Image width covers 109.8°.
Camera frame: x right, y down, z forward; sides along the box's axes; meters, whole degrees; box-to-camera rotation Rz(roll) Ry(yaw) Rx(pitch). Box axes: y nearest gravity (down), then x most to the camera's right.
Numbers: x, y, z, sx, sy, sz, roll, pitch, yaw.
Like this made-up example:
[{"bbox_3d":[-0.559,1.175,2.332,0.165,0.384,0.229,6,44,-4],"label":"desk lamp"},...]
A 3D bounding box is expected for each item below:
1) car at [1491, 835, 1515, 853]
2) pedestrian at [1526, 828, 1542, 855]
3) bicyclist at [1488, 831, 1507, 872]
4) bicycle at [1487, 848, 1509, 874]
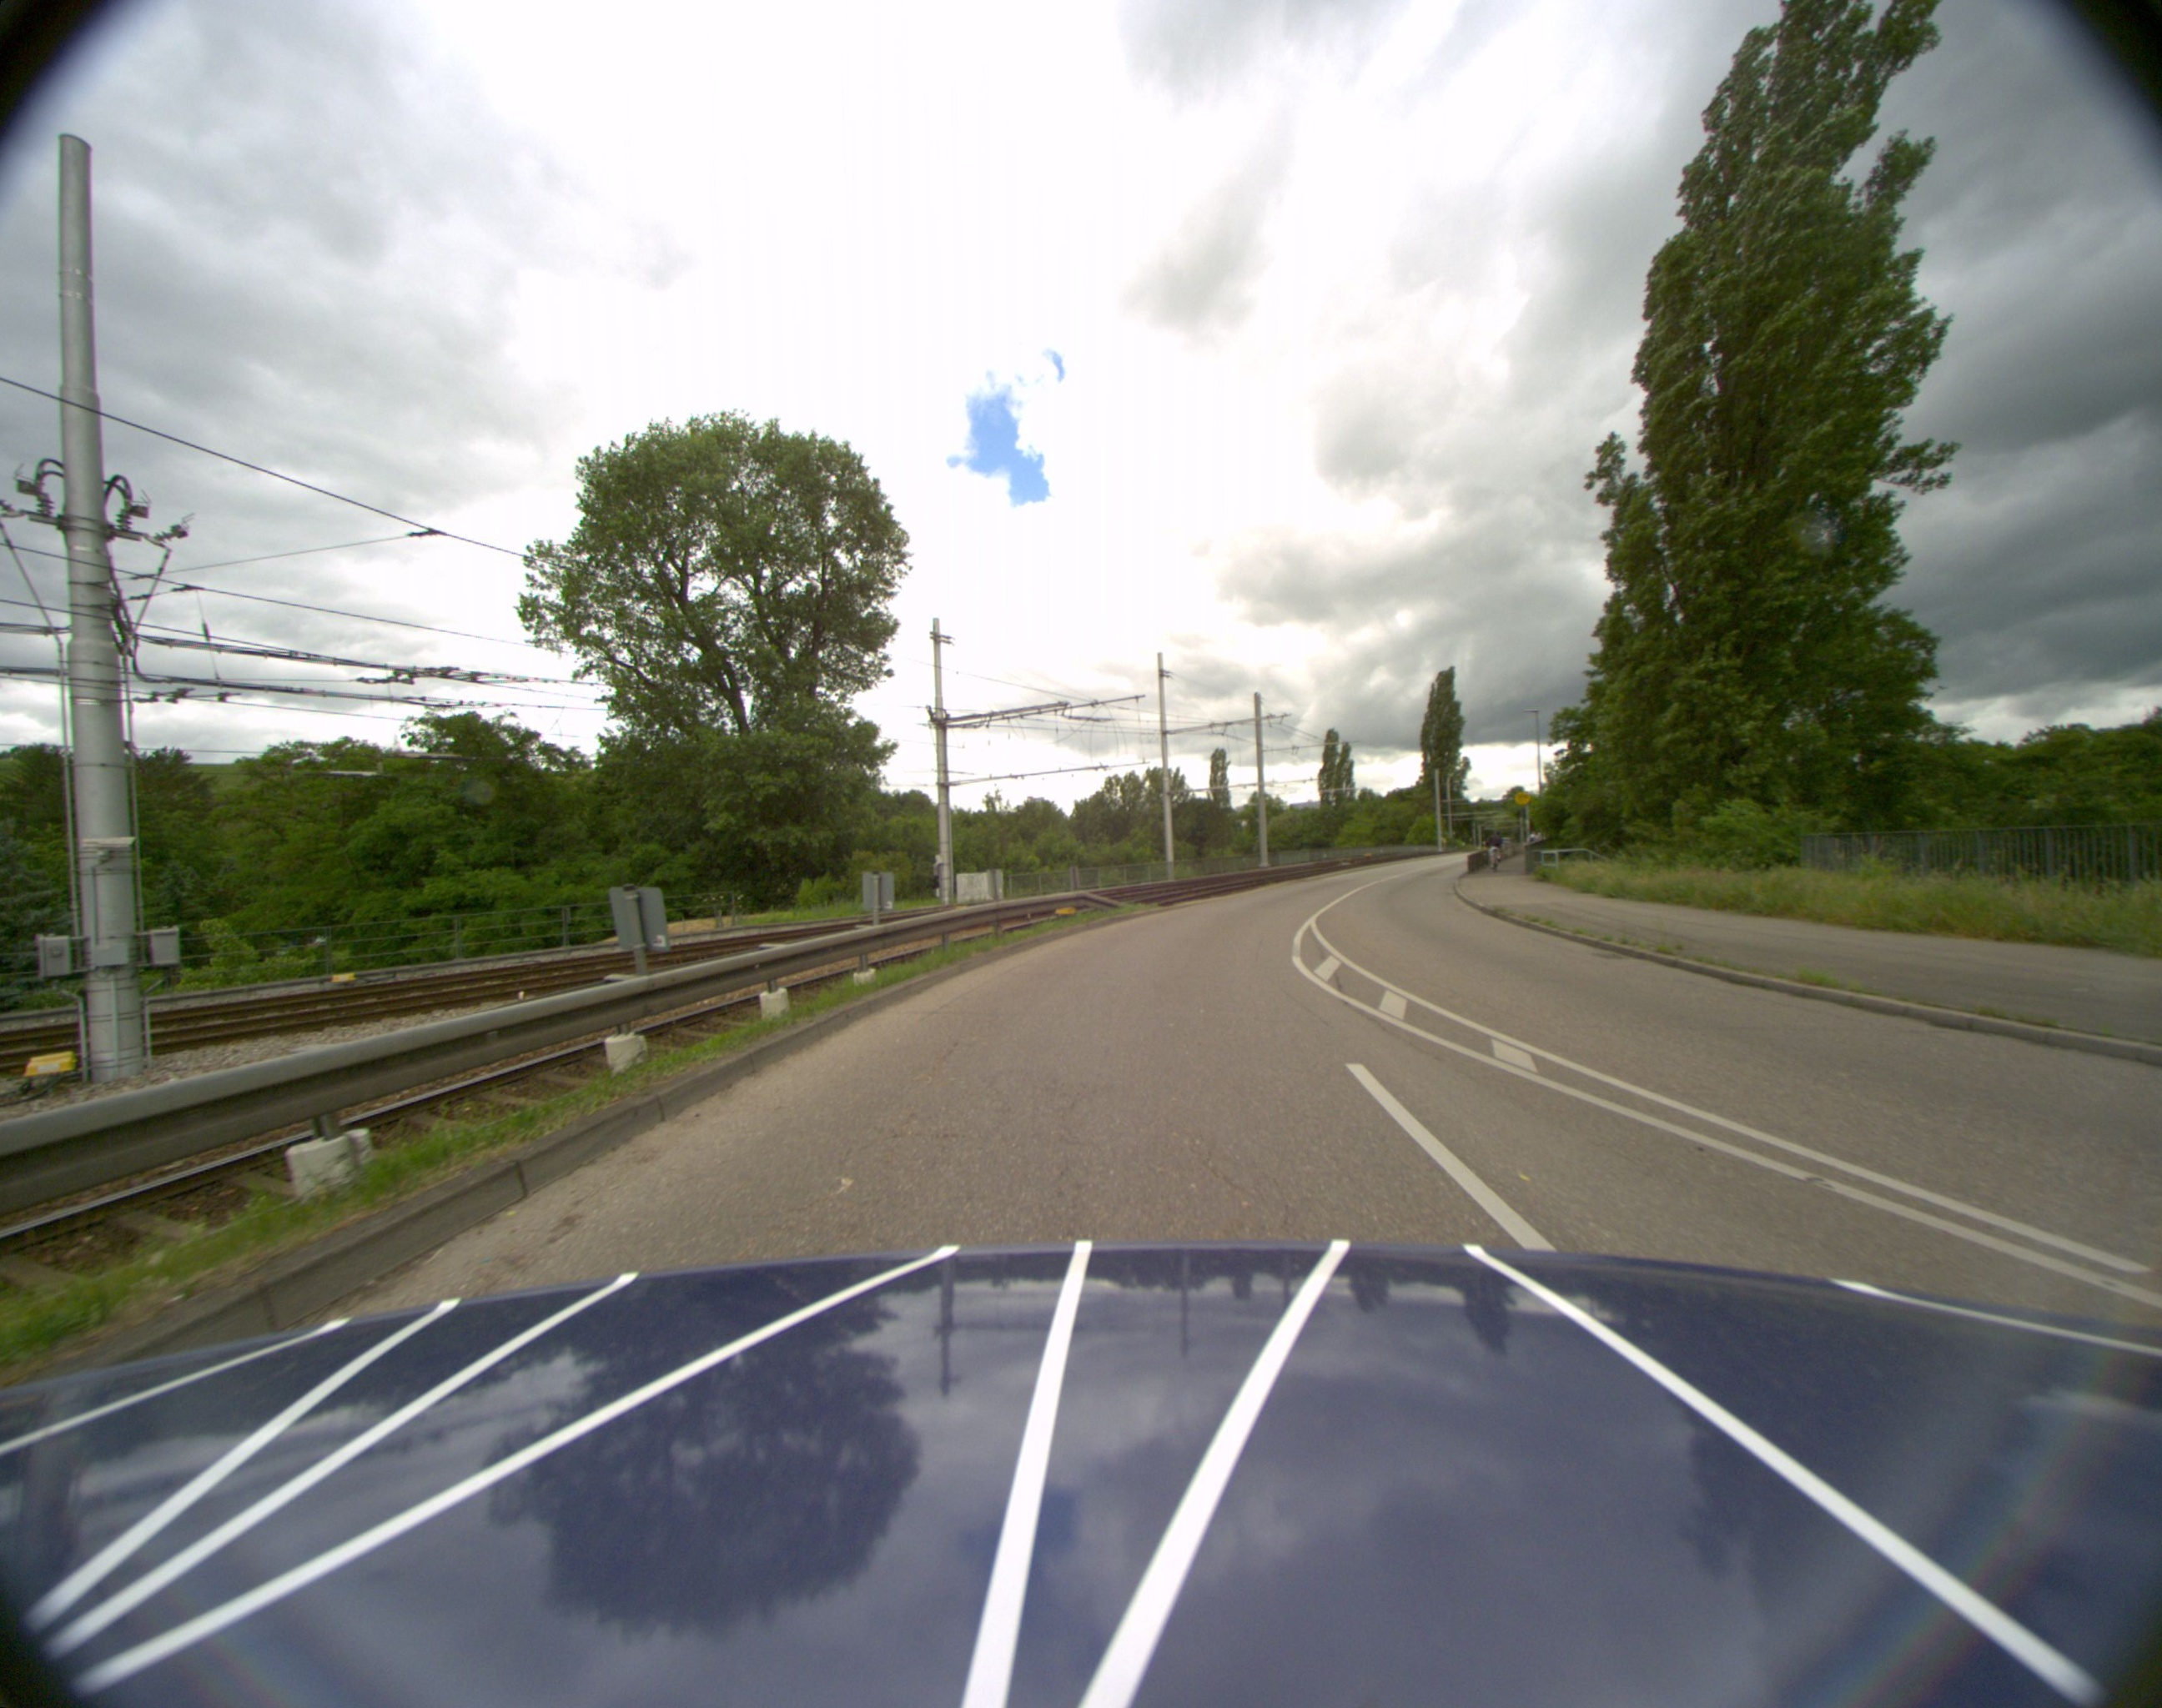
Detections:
[{"bbox_3d":[38.078,-0.917,68.484,1.717,1.460,3.948,0,2,31],"label":"car"},{"bbox_3d":[31.482,-0.863,52.799,0.780,1.817,0.727,-4,1,36],"label":"pedestrian"},{"bbox_3d":[18.739,-0.117,34.224,0.627,1.798,0.902,-4,1,27],"label":"bicyclist"},{"bbox_3d":[18.766,0.308,34.200,0.736,1.065,1.884,-4,0,27],"label":"bicycle"}]
